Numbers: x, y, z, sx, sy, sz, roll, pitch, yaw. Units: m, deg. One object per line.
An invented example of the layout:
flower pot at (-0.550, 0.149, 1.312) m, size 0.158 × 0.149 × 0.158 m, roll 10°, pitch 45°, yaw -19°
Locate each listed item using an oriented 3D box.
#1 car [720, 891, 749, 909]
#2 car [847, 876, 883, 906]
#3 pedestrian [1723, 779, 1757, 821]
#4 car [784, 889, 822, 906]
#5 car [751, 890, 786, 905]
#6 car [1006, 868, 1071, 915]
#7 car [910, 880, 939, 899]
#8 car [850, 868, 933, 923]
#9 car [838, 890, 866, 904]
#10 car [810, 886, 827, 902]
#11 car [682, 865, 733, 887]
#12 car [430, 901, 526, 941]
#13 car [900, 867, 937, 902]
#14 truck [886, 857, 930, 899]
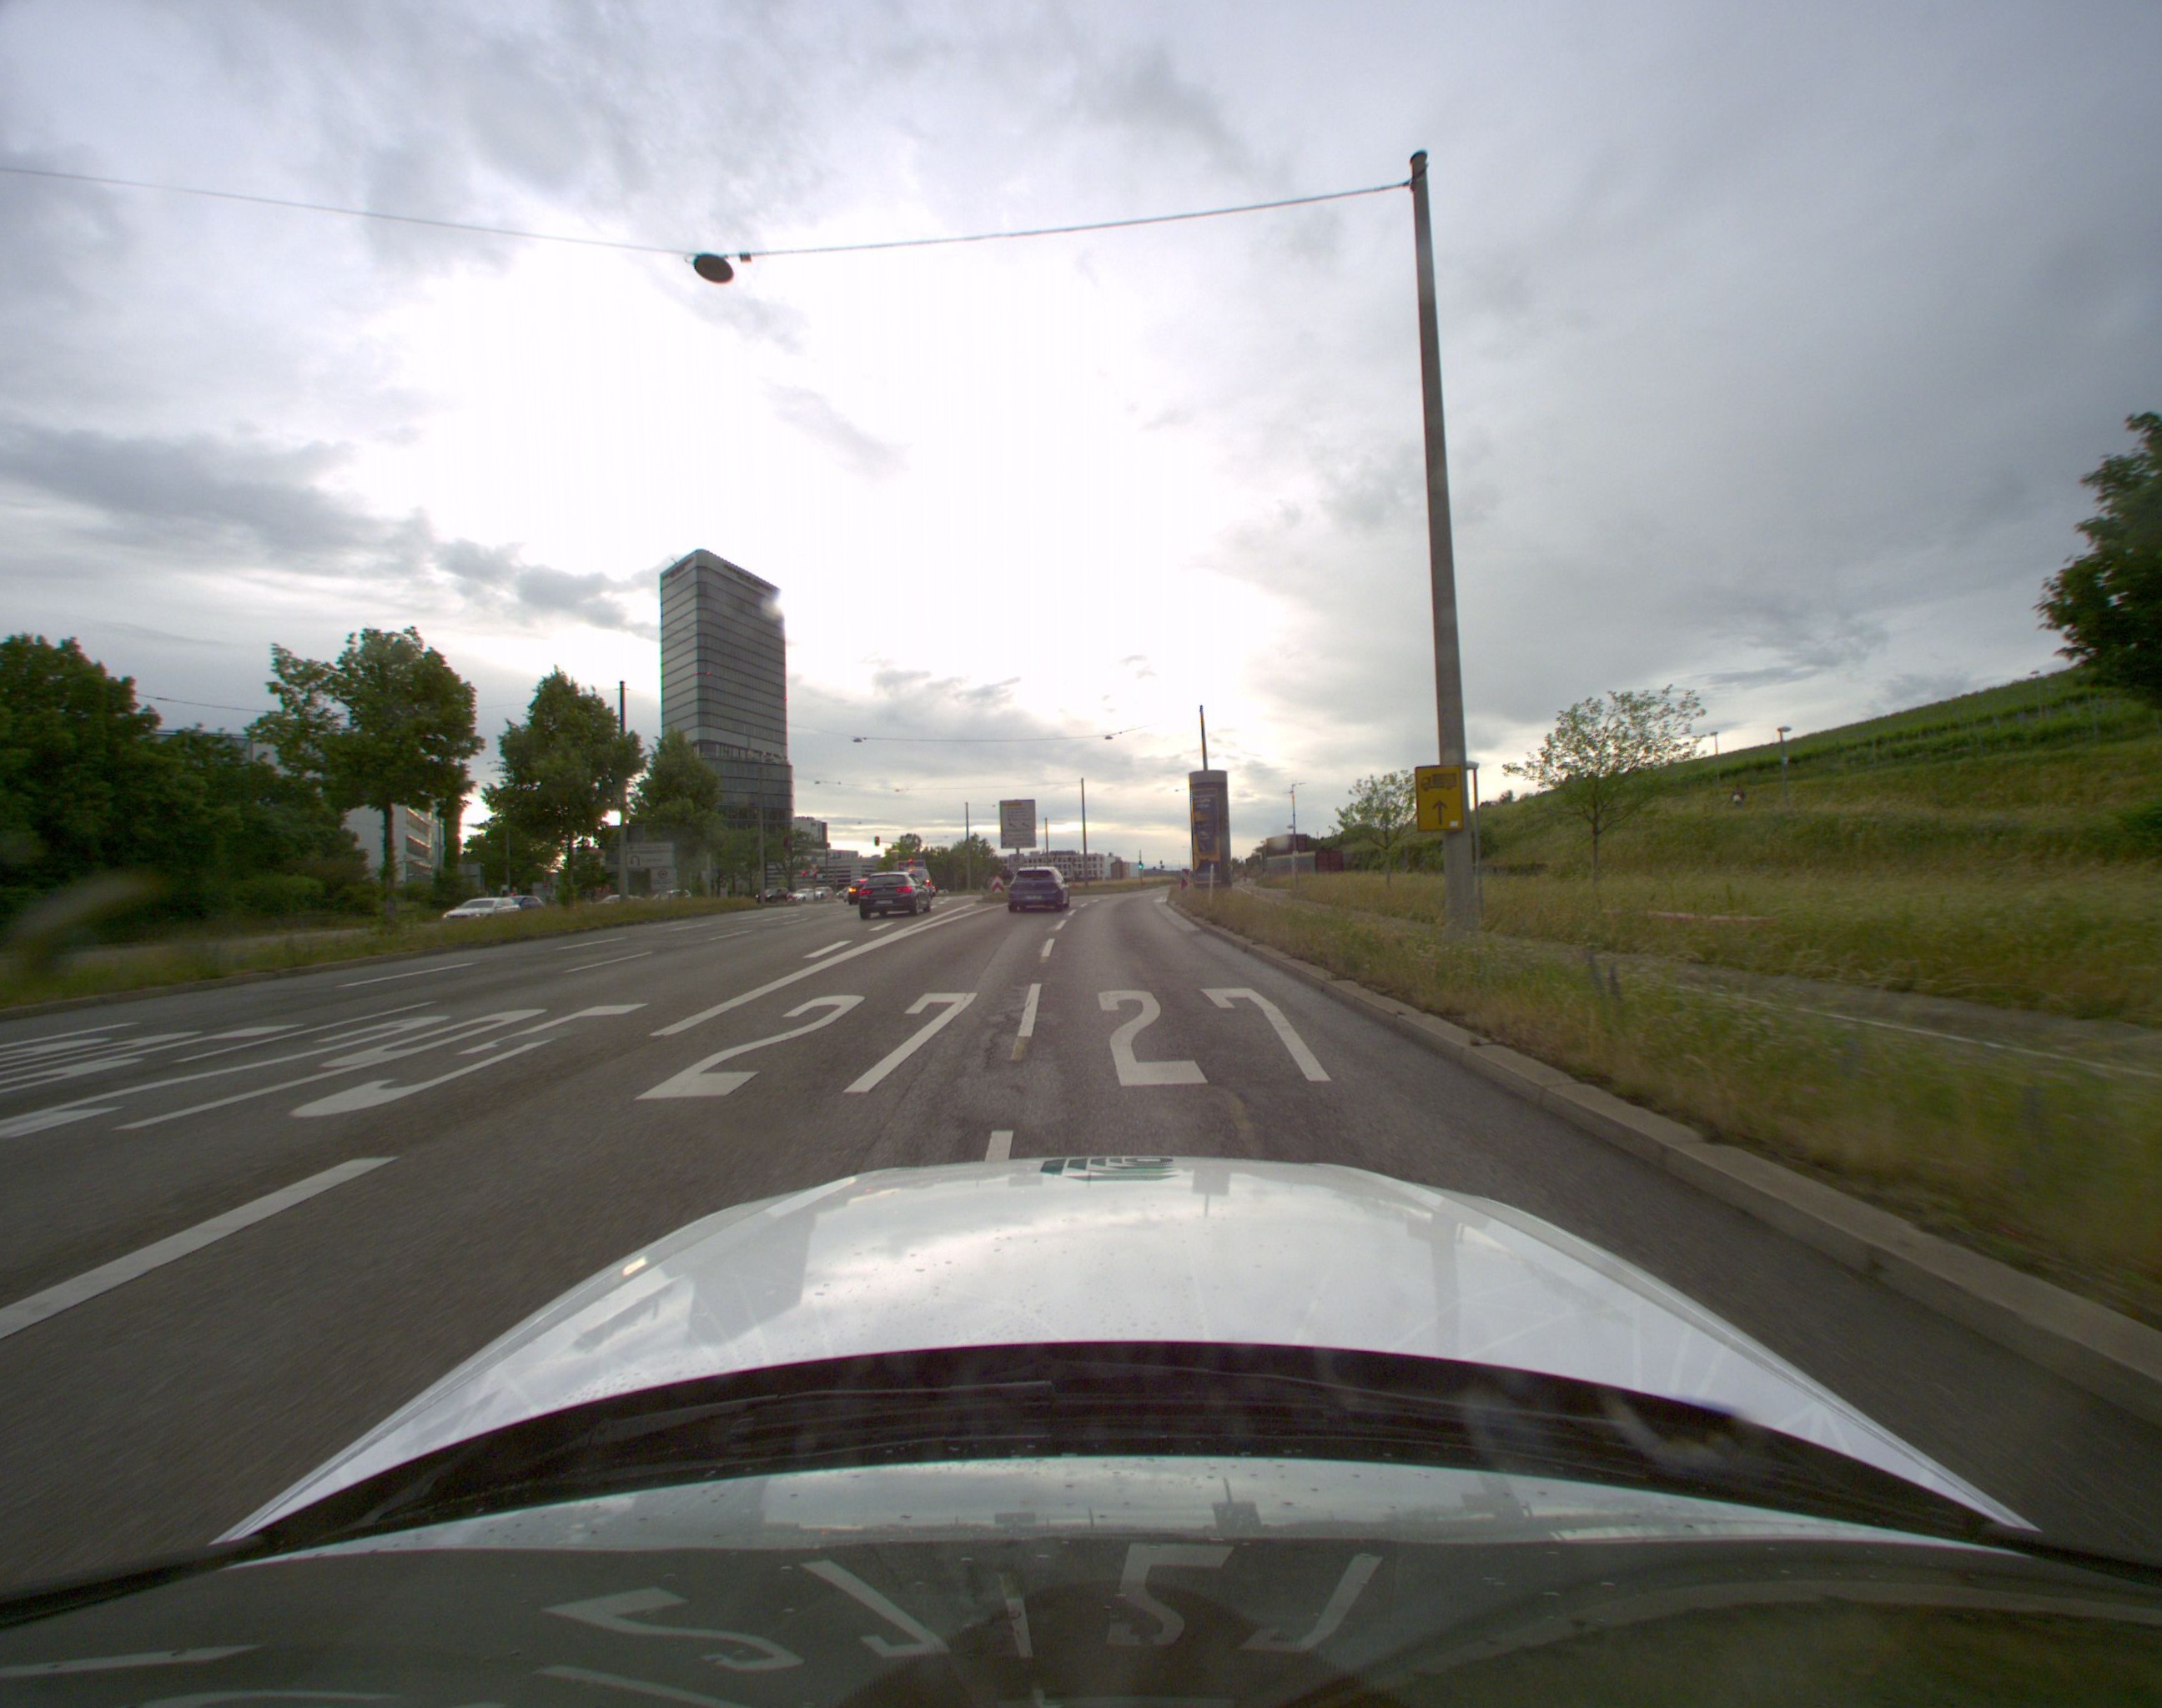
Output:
car at (-40.183, 5.279, 94.468) m, size 1.590 × 1.816 × 3.539 m, roll -2°, pitch 0°, yaw 4°
car at (-12.566, 2.179, 47.450) m, size 1.908 × 1.564 × 3.979 m, roll -3°, pitch -2°, yaw -15°
pedestrian at (32.886, -2.677, 40.656) m, size 0.784 × 2.013 × 1.044 m, roll -4°, pitch 1°, yaw -34°
car at (-29.766, 4.683, 87.411) m, size 1.882 × 1.658 × 4.615 m, roll -2°, pitch -2°, yaw 8°
car at (-33.234, 4.606, 86.714) m, size 1.923 × 1.484 × 4.580 m, roll -2°, pitch -1°, yaw 1°
car at (-1.353, 1.207, 27.431) m, size 1.831 × 1.393 × 4.002 m, roll -1°, pitch 0°, yaw 2°
car at (-15.469, 3.502, 80.431) m, size 1.928 × 1.644 × 4.356 m, roll -1°, pitch -4°, yaw -24°
car at (-6.047, 1.283, 26.483) m, size 1.864 × 1.461 × 3.973 m, roll -2°, pitch 1°, yaw -2°
car at (-29.335, 5.529, 104.384) m, size 1.817 × 1.657 × 3.923 m, roll -2°, pitch -2°, yaw 10°
car at (-33.056, 4.969, 102.626) m, size 1.767 × 1.838 × 3.737 m, roll -2°, pitch -1°, yaw -15°
car at (-30.802, 1.802, 67.324) m, size 1.885 × 1.658 × 4.609 m, roll -2°, pitch -1°, yaw 3°
car at (-30.376, 3.324, 41.231) m, size 1.994 × 1.771 × 4.851 m, roll -2°, pitch -2°, yaw -11°
car at (-9.989, 1.873, 50.338) m, size 1.904 × 1.973 × 5.075 m, roll -3°, pitch -2°, yaw -9°
truck at (-14.179, 1.955, 66.360) m, size 2.675 × 3.220 × 6.505 m, roll 0°, pitch -2°, yaw -19°
